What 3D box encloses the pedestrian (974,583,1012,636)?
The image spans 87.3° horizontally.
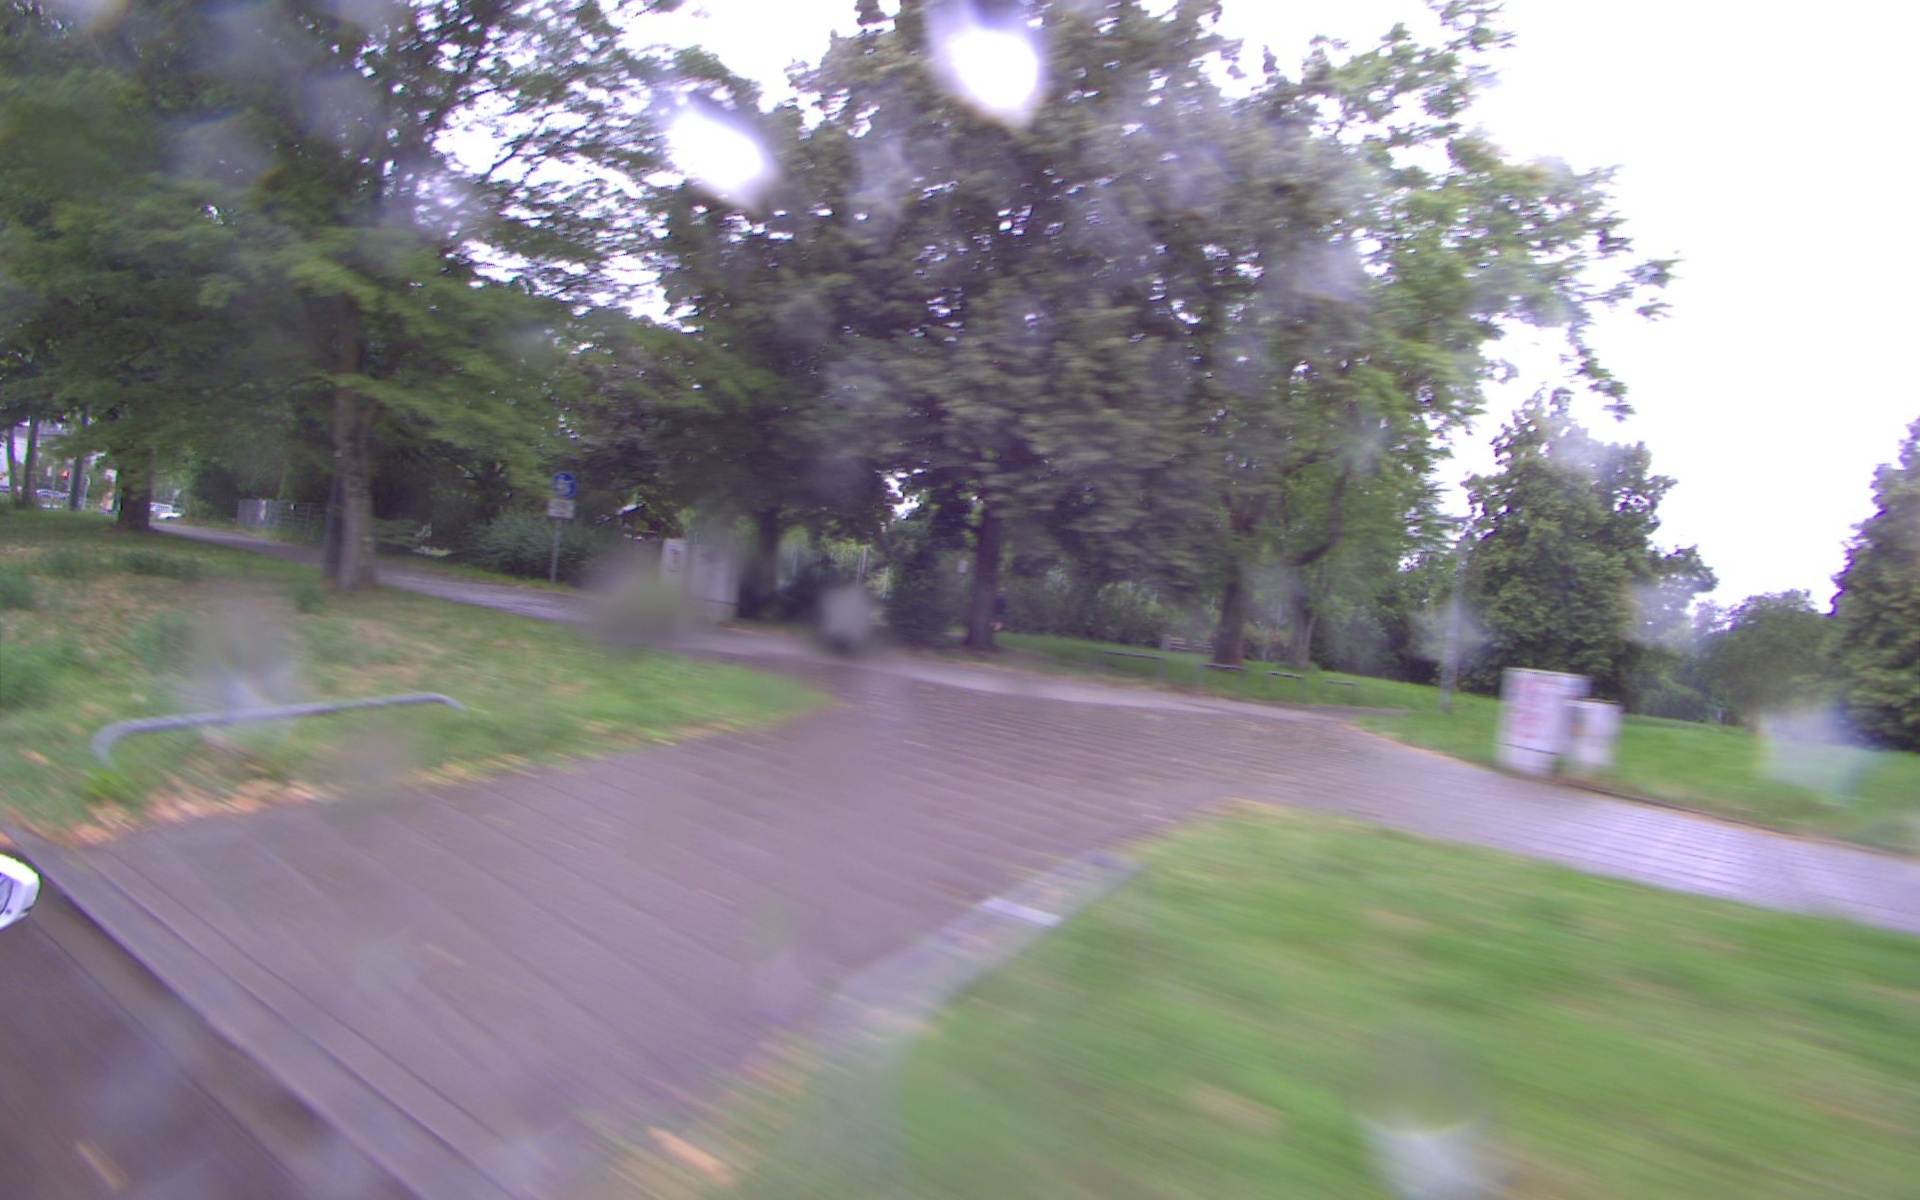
[{"bbox_3d":[1.159,0.342,34.639,0.838,1.716,1.035,7,1,20],"label":"pedestrian"}]
